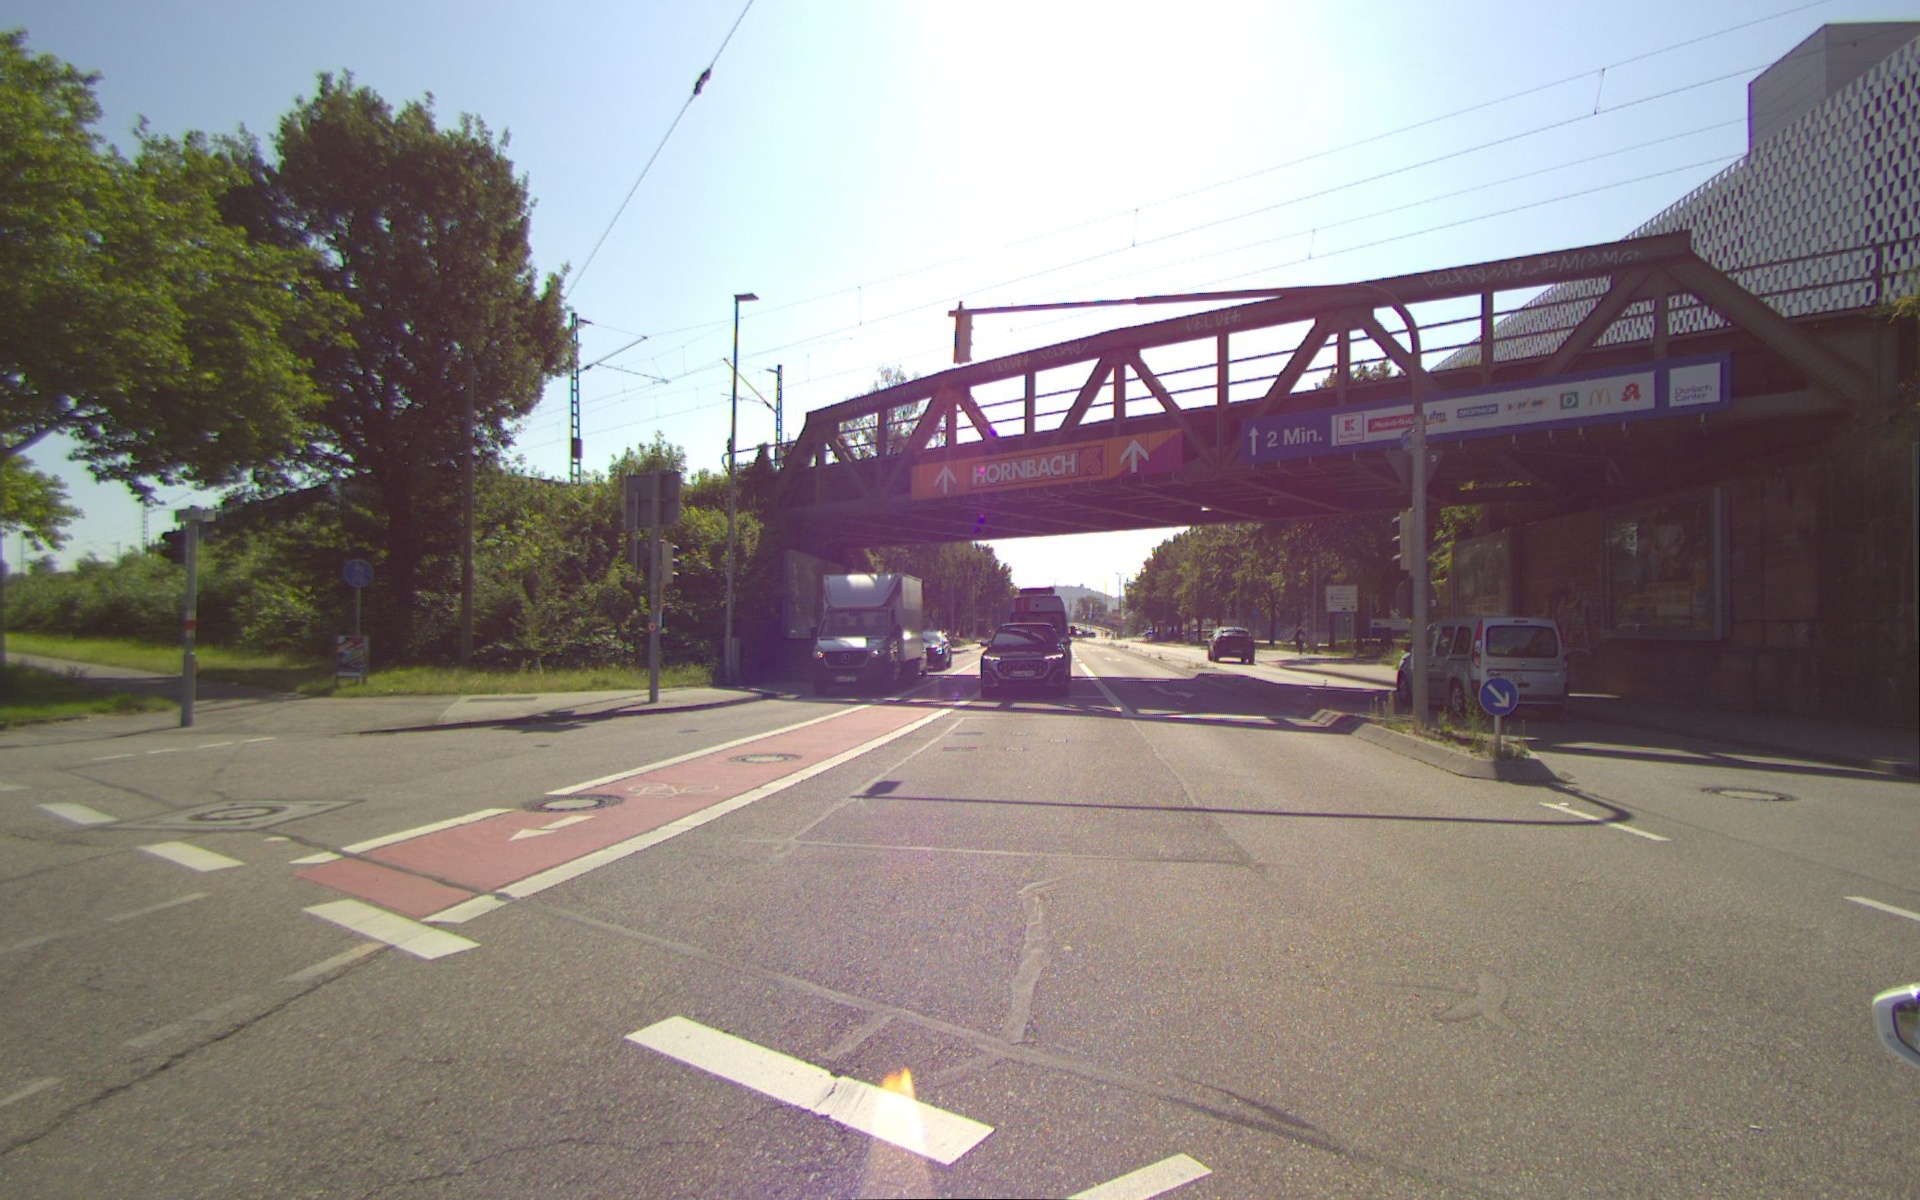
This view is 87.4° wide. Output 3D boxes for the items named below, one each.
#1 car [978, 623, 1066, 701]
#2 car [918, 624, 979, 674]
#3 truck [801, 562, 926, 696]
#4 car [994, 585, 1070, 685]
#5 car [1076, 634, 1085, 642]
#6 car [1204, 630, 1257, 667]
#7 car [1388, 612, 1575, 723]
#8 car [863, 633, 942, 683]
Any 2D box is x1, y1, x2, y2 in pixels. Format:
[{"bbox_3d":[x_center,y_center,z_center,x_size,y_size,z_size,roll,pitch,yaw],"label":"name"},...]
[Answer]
[{"bbox_3d":[1.499,1.426,23.546,1.866,1.668,4.003,-1,-3,5],"label":"car"},{"bbox_3d":[-0.421,1.945,40.700,1.852,1.773,4.002,-1,1,8],"label":"car"},{"bbox_3d":[-2.408,0.858,27.234,2.174,3.146,6.870,-1,-3,5],"label":"truck"},{"bbox_3d":[2.390,1.078,31.614,2.131,2.850,6.204,0,-2,6],"label":"car"},{"bbox_3d":[25.158,7.867,209.635,1.897,1.684,4.232,0,-2,7],"label":"car"},{"bbox_3d":[12.683,2.249,47.333,1.897,1.684,4.232,0,-2,8],"label":"car"},{"bbox_3d":[9.660,1.178,18.967,1.756,1.862,4.002,-1,-1,6],"label":"car"},{"bbox_3d":[-1.882,1.922,34.193,1.852,1.408,4.240,-1,1,8],"label":"car"}]
